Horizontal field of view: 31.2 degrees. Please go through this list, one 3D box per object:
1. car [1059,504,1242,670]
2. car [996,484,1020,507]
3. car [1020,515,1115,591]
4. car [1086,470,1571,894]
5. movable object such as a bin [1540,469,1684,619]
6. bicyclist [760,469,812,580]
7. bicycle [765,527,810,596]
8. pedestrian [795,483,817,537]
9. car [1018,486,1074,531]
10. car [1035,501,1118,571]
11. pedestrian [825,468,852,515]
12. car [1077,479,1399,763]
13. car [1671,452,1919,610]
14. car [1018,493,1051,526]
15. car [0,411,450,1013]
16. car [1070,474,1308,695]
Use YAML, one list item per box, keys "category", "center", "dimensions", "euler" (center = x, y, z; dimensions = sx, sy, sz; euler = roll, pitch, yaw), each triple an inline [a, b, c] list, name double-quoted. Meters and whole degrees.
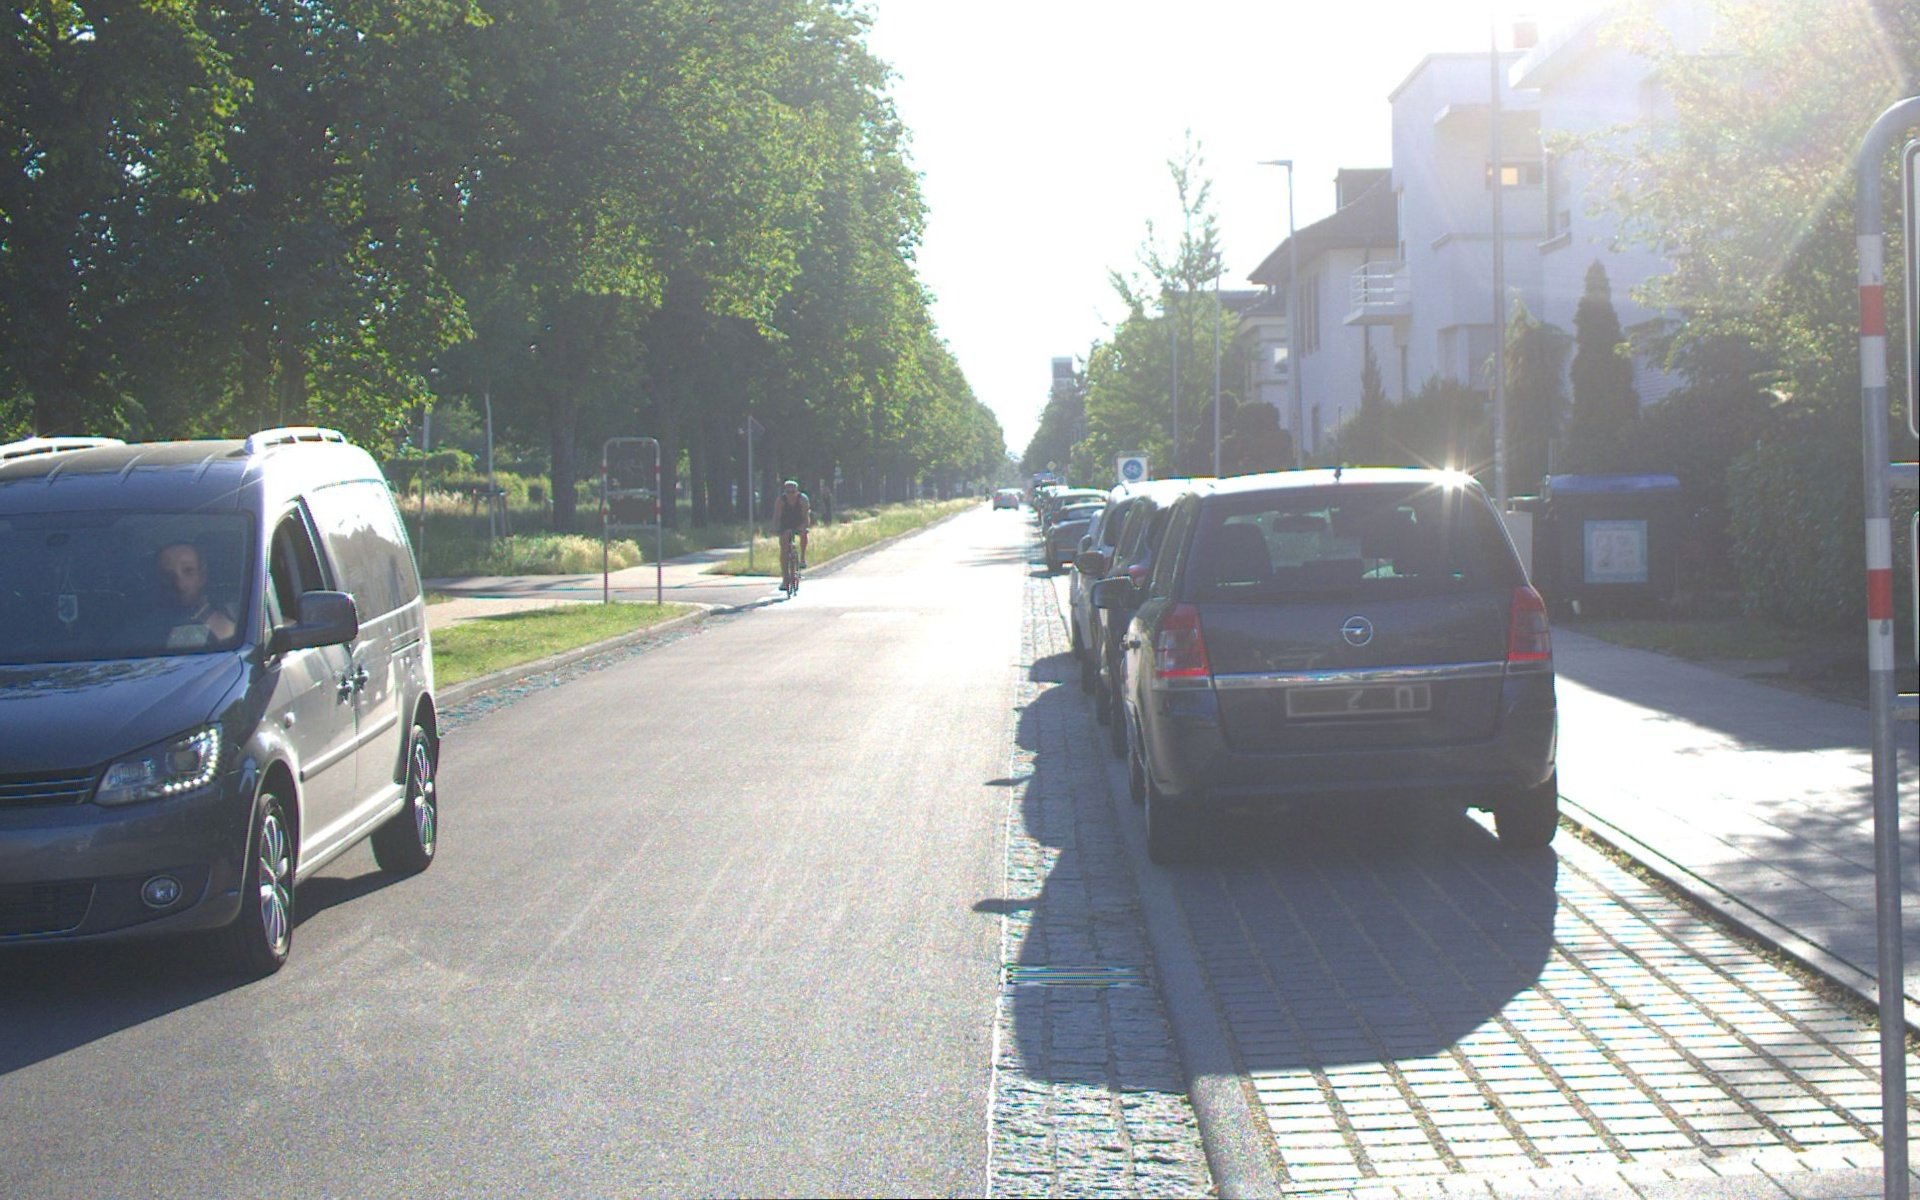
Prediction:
- category: "car"
  center: [1.744, -0.178, 32.566]
  dimensions: [1.564, 1.385, 4.374]
  euler: [-2, 2, 2]
- category: "car"
  center: [3.372, -7.355, 242.076]
  dimensions: [1.652, 1.536, 3.267]
  euler: [1, 2, 1]
- category: "car"
  center: [2.164, -0.967, 69.202]
  dimensions: [1.774, 1.284, 4.273]
  euler: [-3, 3, 2]
- category: "car"
  center: [1.543, 0.253, 15.752]
  dimensions: [1.710, 1.605, 4.169]
  euler: [-3, 2, 0]
- category: "movable object such as a bin"
  center: [6.319, -0.548, 33.401]
  dimensions: [1.237, 1.427, 1.123]
  euler: [0, 2, 3]
- category: "bicyclist"
  center: [-2.668, -1.163, 52.851]
  dimensions: [0.681, 1.667, 1.172]
  euler: [-2, 1, 1]
- category: "bicycle"
  center: [-2.651, -0.600, 52.944]
  dimensions: [0.556, 1.028, 1.915]
  euler: [-1, 1, 1]
- category: "pedestrian"
  center: [-5.313, -3.114, 118.794]
  dimensions: [0.624, 1.824, 0.886]
  euler: [0, 2, 5]
- category: "car"
  center: [2.899, -3.091, 116.900]
  dimensions: [1.736, 1.444, 4.197]
  euler: [-2, 1, 0]
- category: "car"
  center: [2.697, -1.513, 80.480]
  dimensions: [1.744, 1.469, 3.922]
  euler: [-4, 2, 0]
- category: "pedestrian"
  center: [-4.191, -3.732, 118.637]
  dimensions: [0.783, 1.609, 0.952]
  euler: [0, 2, 5]
- category: "car"
  center: [1.643, 0.052, 21.530]
  dimensions: [1.679, 1.550, 4.145]
  euler: [-2, 2, 1]
- category: "car"
  center: [9.379, -0.741, 36.555]
  dimensions: [3.494, 1.636, 1.642]
  euler: [0, 2, 9]
- category: "car"
  center: [3.649, -4.427, 168.222]
  dimensions: [1.498, 1.561, 3.266]
  euler: [-1, 2, 2]
- category: "car"
  center: [-3.219, 0.312, 12.933]
  dimensions: [1.844, 1.841, 4.573]
  euler: [-2, 1, 0]
- category: "car"
  center: [1.751, -0.179, 27.084]
  dimensions: [1.679, 1.550, 4.130]
  euler: [-2, 2, 2]
